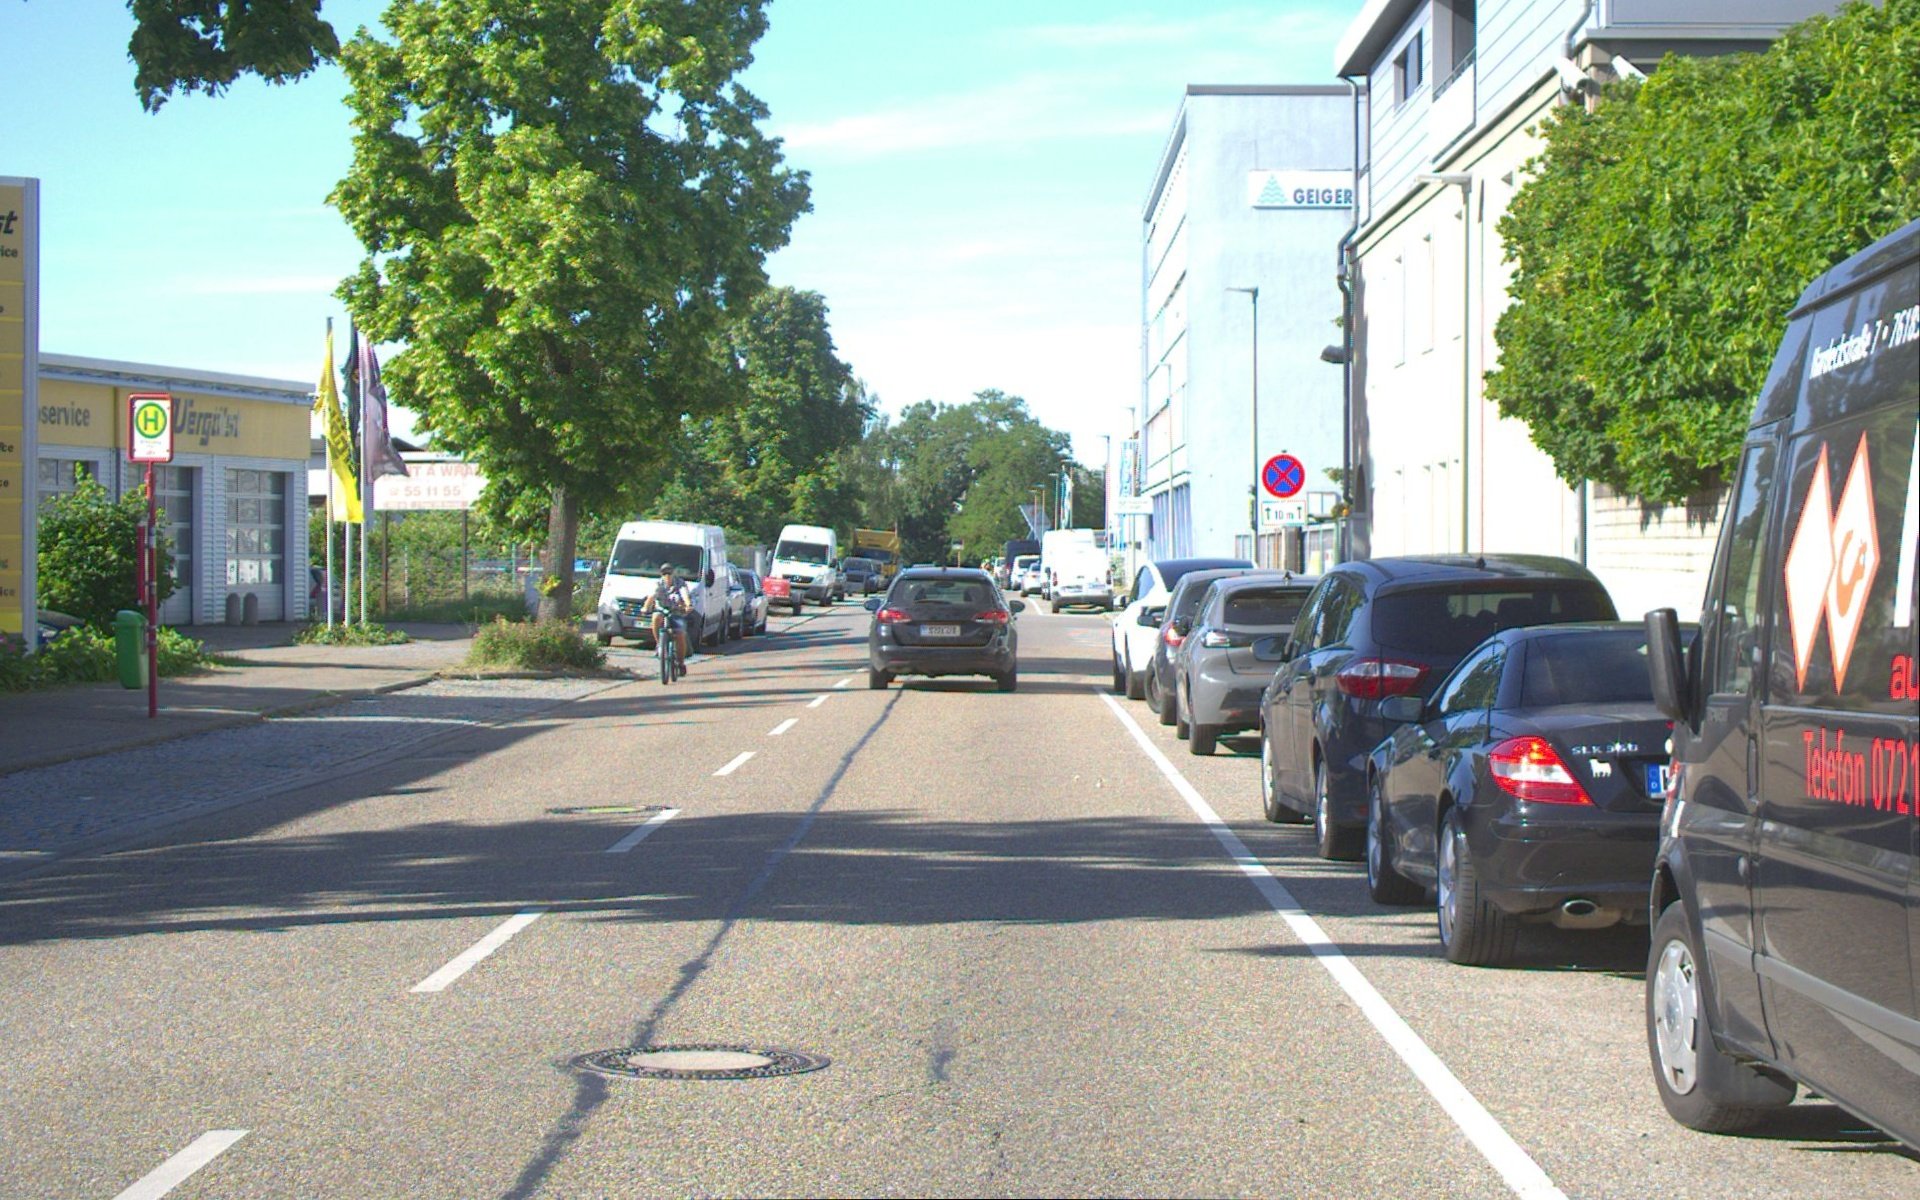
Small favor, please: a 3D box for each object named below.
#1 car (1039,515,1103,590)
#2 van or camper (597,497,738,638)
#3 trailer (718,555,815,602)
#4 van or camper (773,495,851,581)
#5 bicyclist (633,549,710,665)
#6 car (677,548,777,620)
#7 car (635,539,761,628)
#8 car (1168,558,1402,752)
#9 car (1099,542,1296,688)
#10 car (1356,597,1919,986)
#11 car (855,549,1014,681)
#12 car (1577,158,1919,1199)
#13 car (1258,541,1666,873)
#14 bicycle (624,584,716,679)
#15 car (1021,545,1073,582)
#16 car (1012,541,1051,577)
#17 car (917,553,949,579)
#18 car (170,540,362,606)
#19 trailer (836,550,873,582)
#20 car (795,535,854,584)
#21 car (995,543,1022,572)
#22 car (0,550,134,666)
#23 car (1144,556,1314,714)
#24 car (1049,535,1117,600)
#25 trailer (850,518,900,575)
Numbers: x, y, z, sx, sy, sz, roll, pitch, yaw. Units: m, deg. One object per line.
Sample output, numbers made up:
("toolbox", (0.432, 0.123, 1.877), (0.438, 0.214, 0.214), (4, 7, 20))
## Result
("car", (4.039, -1.787, 126.064), (1.993, 2.589, 6.051), (-2, 2, -1))
("van or camper", (-5.757, -0.691, 68.510), (2.070, 2.540, 6.404), (4, 1, 0))
("trailer", (-5.521, -0.637, 98.666), (2.376, 1.076, 6.246), (4, 2, 0))
("van or camper", (-5.028, -2.115, 117.406), (1.966, 2.676, 5.947), (5, 1, 2))
("bicyclist", (-3.972, 0.092, 47.385), (0.839, 1.537, 1.136), (3, 0, 3))
("car", (-5.333, -0.396, 79.344), (1.800, 1.505, 5.002), (4, 1, 1))
("car", (-5.609, -0.391, 74.065), (1.994, 1.732, 4.574), (4, 1, 3))
("car", (2.683, 0.407, 29.135), (1.659, 1.500, 4.031), (0, 1, 1))
("car", (2.780, 0.126, 41.147), (1.931, 1.639, 4.770), (0, 1, -1))
("car", (2.682, 0.683, 14.309), (1.654, 1.314, 4.104), (0, 1, 1))
("car", (-0.265, 0.143, 42.109), (1.847, 1.525, 4.000), (0, 1, 1))
("car", (2.739, 0.284, 7.611), (1.892, 2.252, 5.146), (0, 1, 1))
("car", (2.683, 0.499, 19.241), (1.681, 1.608, 4.205), (2, 1, 1))
("bicycle", (-3.983, 0.419, 47.383), (0.839, 1.235, 2.604), (3, 0, 3))
("car", (3.463, -1.434, 137.395), (1.894, 1.400, 5.124), (2, 0, 0))
("car", (3.766, -2.154, 181.742), (1.885, 1.791, 5.104), (2, 0, -1))
("car", (-1.511, -1.936, 194.017), (1.747, 1.442, 4.361), (0, 1, 0))
("car", (-16.901, -0.675, 83.785), (4.160, 1.568, 1.915), (0, 1, 11))
("trailer", (-4.640, -1.518, 151.775), (1.476, 1.349, 3.078), (2, 1, 0))
("car", (-5.138, -1.538, 130.549), (2.030, 1.688, 5.107), (4, 1, -1))
("car", (3.507, -3.058, 248.261), (1.874, 2.007, 5.160), (2, 0, 1))
("car", (-13.611, 0.076, 46.435), (4.348, 1.503, 1.999), (0, 1, 15))
("car", (2.697, 0.303, 34.565), (1.599, 1.468, 4.189), (0, 1, 4))
("car", (3.561, -0.950, 99.987), (1.889, 1.826, 5.090), (1, 1, 2))
("trailer", (-5.174, -3.244, 210.853), (2.991, 3.431, 8.162), (0, 1, -1))
